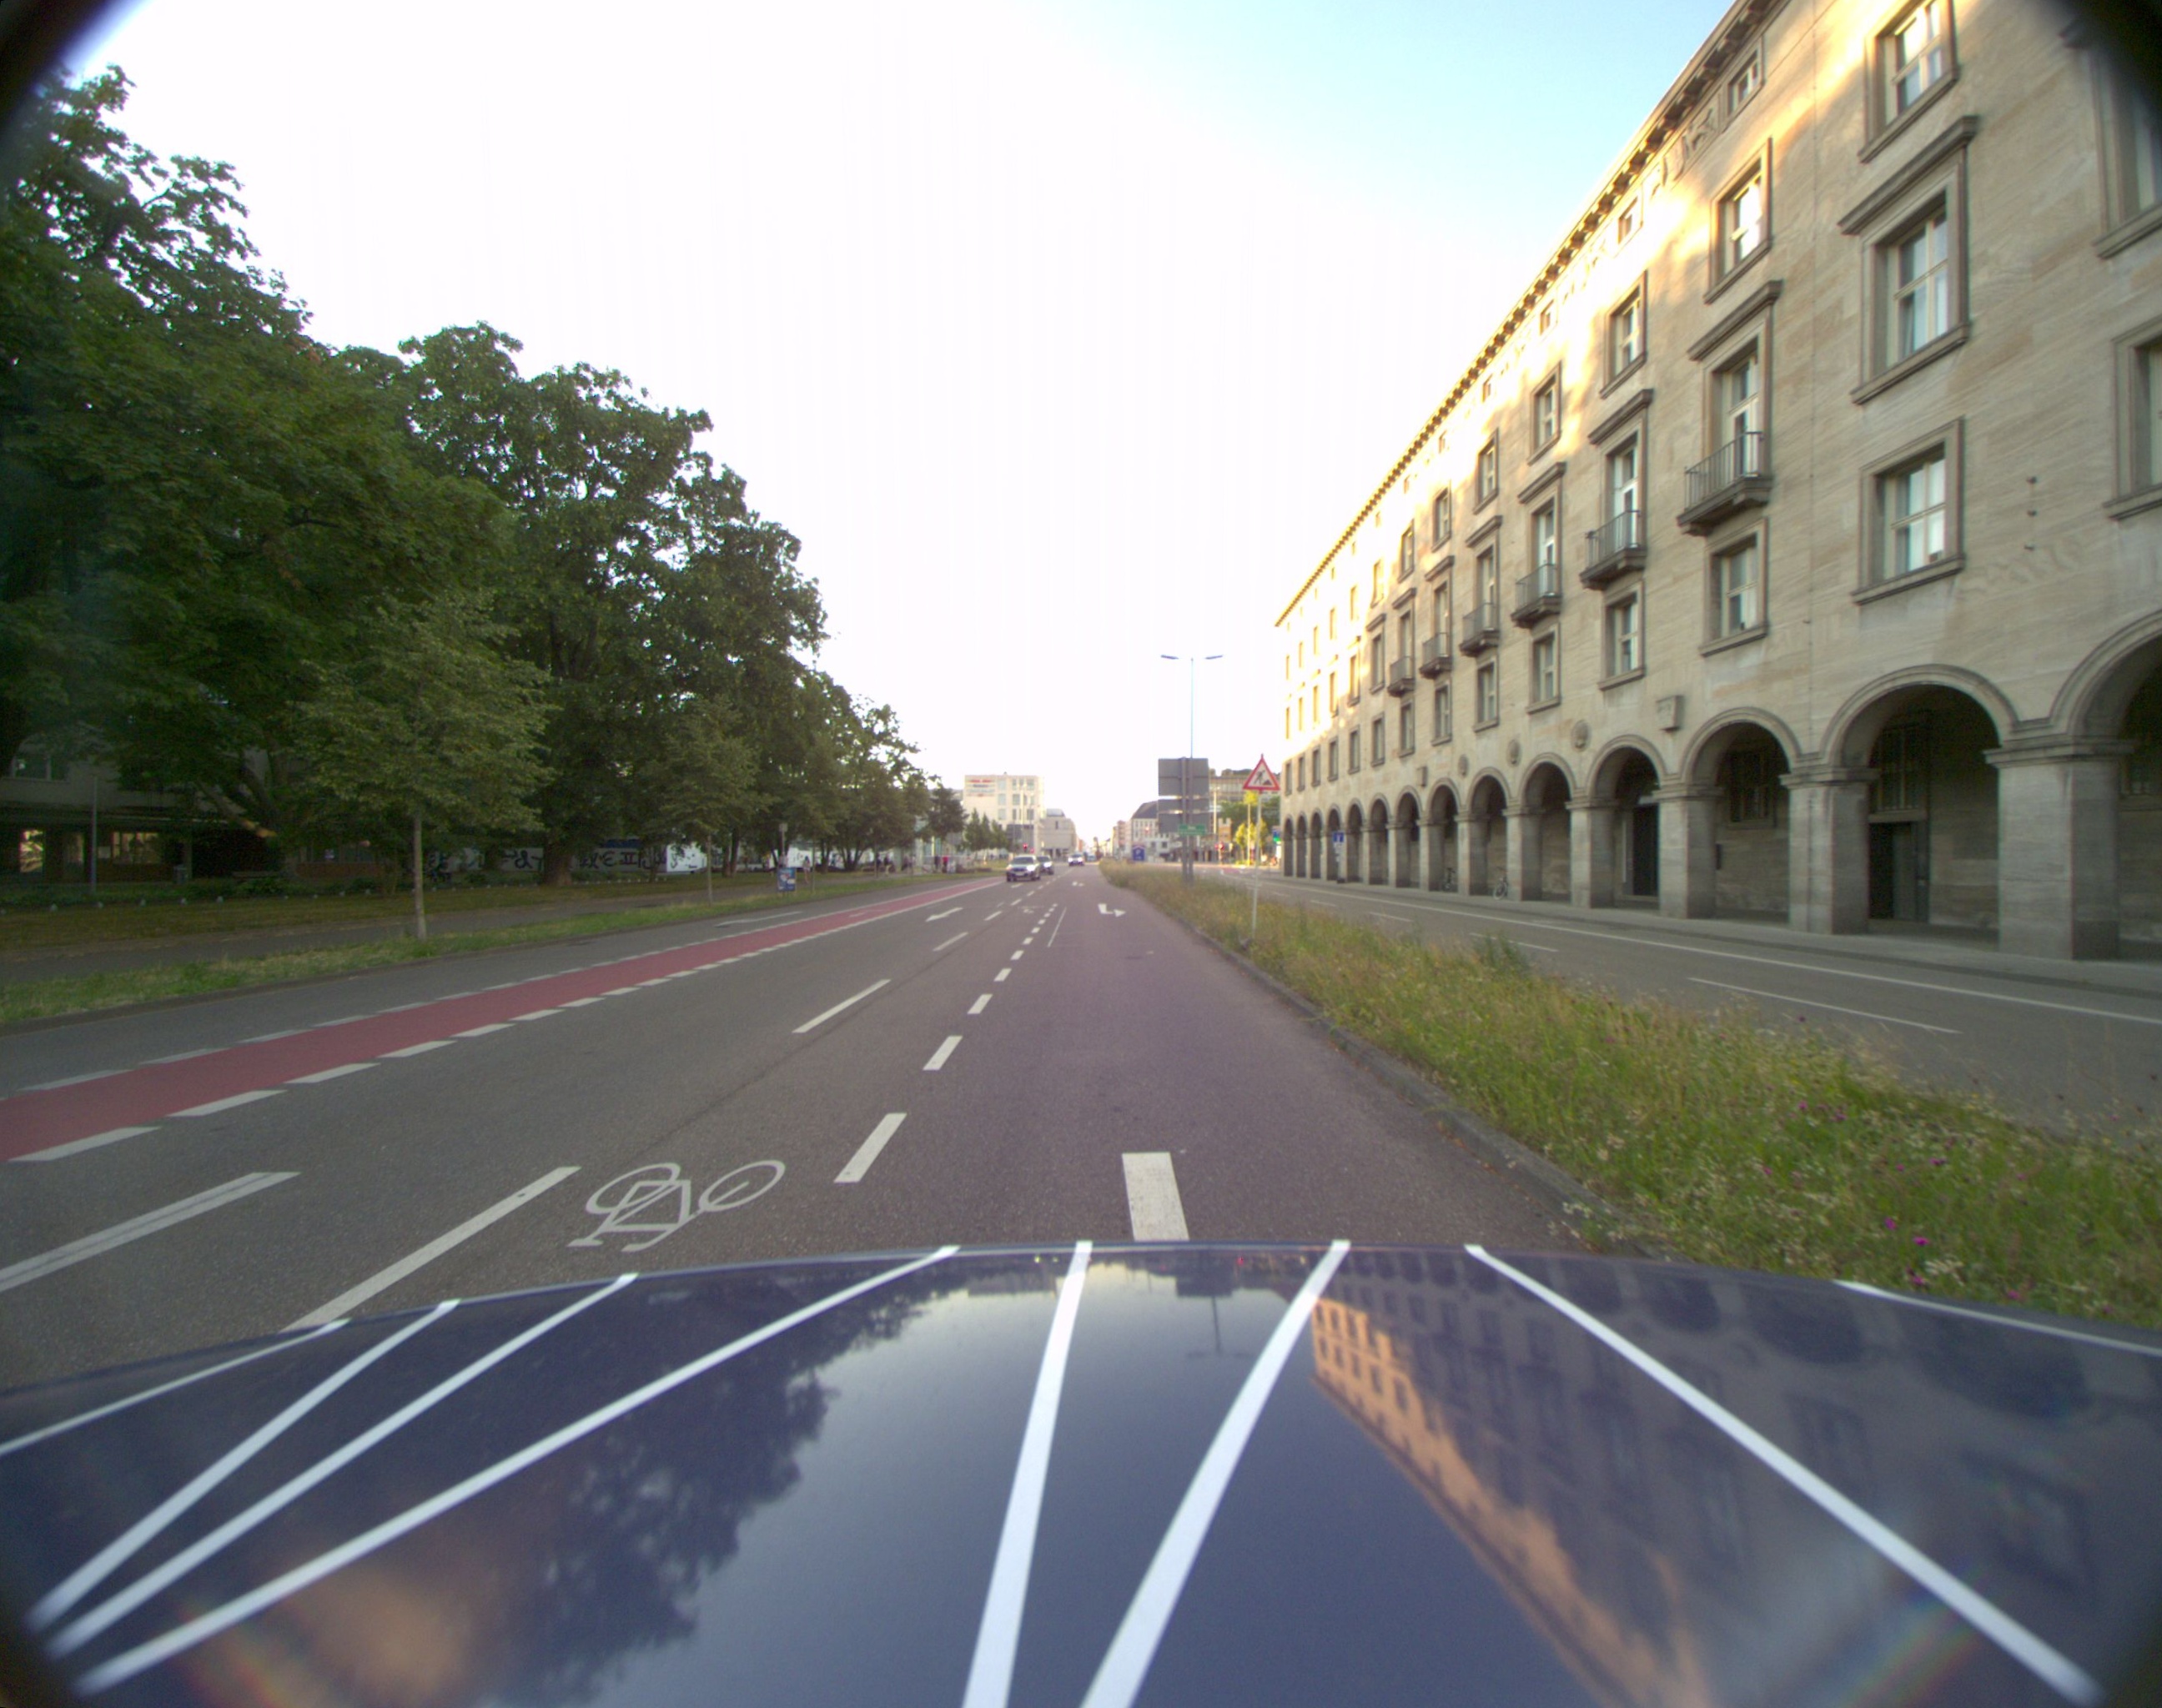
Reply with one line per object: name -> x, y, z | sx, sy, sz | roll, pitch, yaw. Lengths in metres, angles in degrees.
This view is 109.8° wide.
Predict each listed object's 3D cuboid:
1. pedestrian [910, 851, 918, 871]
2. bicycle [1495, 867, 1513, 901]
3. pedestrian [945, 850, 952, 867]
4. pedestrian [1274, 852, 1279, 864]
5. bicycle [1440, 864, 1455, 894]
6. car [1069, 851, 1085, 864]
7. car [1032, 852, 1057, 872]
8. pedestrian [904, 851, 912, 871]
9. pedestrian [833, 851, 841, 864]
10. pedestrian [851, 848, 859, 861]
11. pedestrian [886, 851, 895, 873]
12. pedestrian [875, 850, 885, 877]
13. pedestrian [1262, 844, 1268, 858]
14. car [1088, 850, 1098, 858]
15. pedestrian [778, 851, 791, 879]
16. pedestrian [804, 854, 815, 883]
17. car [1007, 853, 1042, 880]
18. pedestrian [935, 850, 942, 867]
pedestrian -> -14.384, 0.560, 65.566 | 0.509, 1.720, 0.719 | 0, 1, 1
bicycle -> 15.385, 1.055, 27.632 | 0.513, 1.115, 2.427 | 0, 1, 30
pedestrian -> -13.592, 0.422, 78.121 | 0.638, 1.747, 0.506 | 0, 1, 1
pedestrian -> 25.368, 0.476, 98.797 | 0.526, 1.532, 0.390 | 0, 1, 1
bicycle -> 15.496, 1.022, 32.144 | 0.513, 1.172, 2.427 | 0, 0, 25
car -> -0.528, 0.481, 99.992 | 1.781, 1.676, 4.216 | 0, 0, 4
car -> -3.047, 0.657, 63.787 | 1.782, 1.617, 4.215 | -1, 0, 1
pedestrian -> -14.936, 0.590, 65.734 | 0.519, 1.720, 0.719 | 0, 1, 1
pedestrian -> -25.478, 0.337, 79.231 | 0.631, 1.347, 0.681 | 0, 1, 1
pedestrian -> -23.750, 0.080, 79.860 | 0.662, 1.347, 0.559 | 0, 1, 1
pedestrian -> -14.849, 0.651, 59.298 | 0.509, 1.720, 0.719 | 0, 1, 1
pedestrian -> -13.293, 0.631, 50.277 | 0.558, 1.729, 0.555 | 0, 1, 1
pedestrian -> 23.960, -0.373, 98.883 | 0.638, 1.747, 0.506 | 0, 1, 1
car -> 3.481, 0.127, 223.076 | 1.996, 2.297, 5.095 | 0, 0, 13
pedestrian -> -16.443, 0.608, 42.168 | 0.500, 1.592, 0.522 | 0, 1, 1
pedestrian -> -15.318, 0.808, 42.843 | 0.500, 1.592, 0.365 | 0, 1, 1
car -> -3.592, 0.776, 49.184 | 1.826, 1.612, 4.336 | -2, 0, 0
pedestrian -> -14.656, 0.412, 78.182 | 0.638, 1.747, 0.506 | 0, 1, 1
